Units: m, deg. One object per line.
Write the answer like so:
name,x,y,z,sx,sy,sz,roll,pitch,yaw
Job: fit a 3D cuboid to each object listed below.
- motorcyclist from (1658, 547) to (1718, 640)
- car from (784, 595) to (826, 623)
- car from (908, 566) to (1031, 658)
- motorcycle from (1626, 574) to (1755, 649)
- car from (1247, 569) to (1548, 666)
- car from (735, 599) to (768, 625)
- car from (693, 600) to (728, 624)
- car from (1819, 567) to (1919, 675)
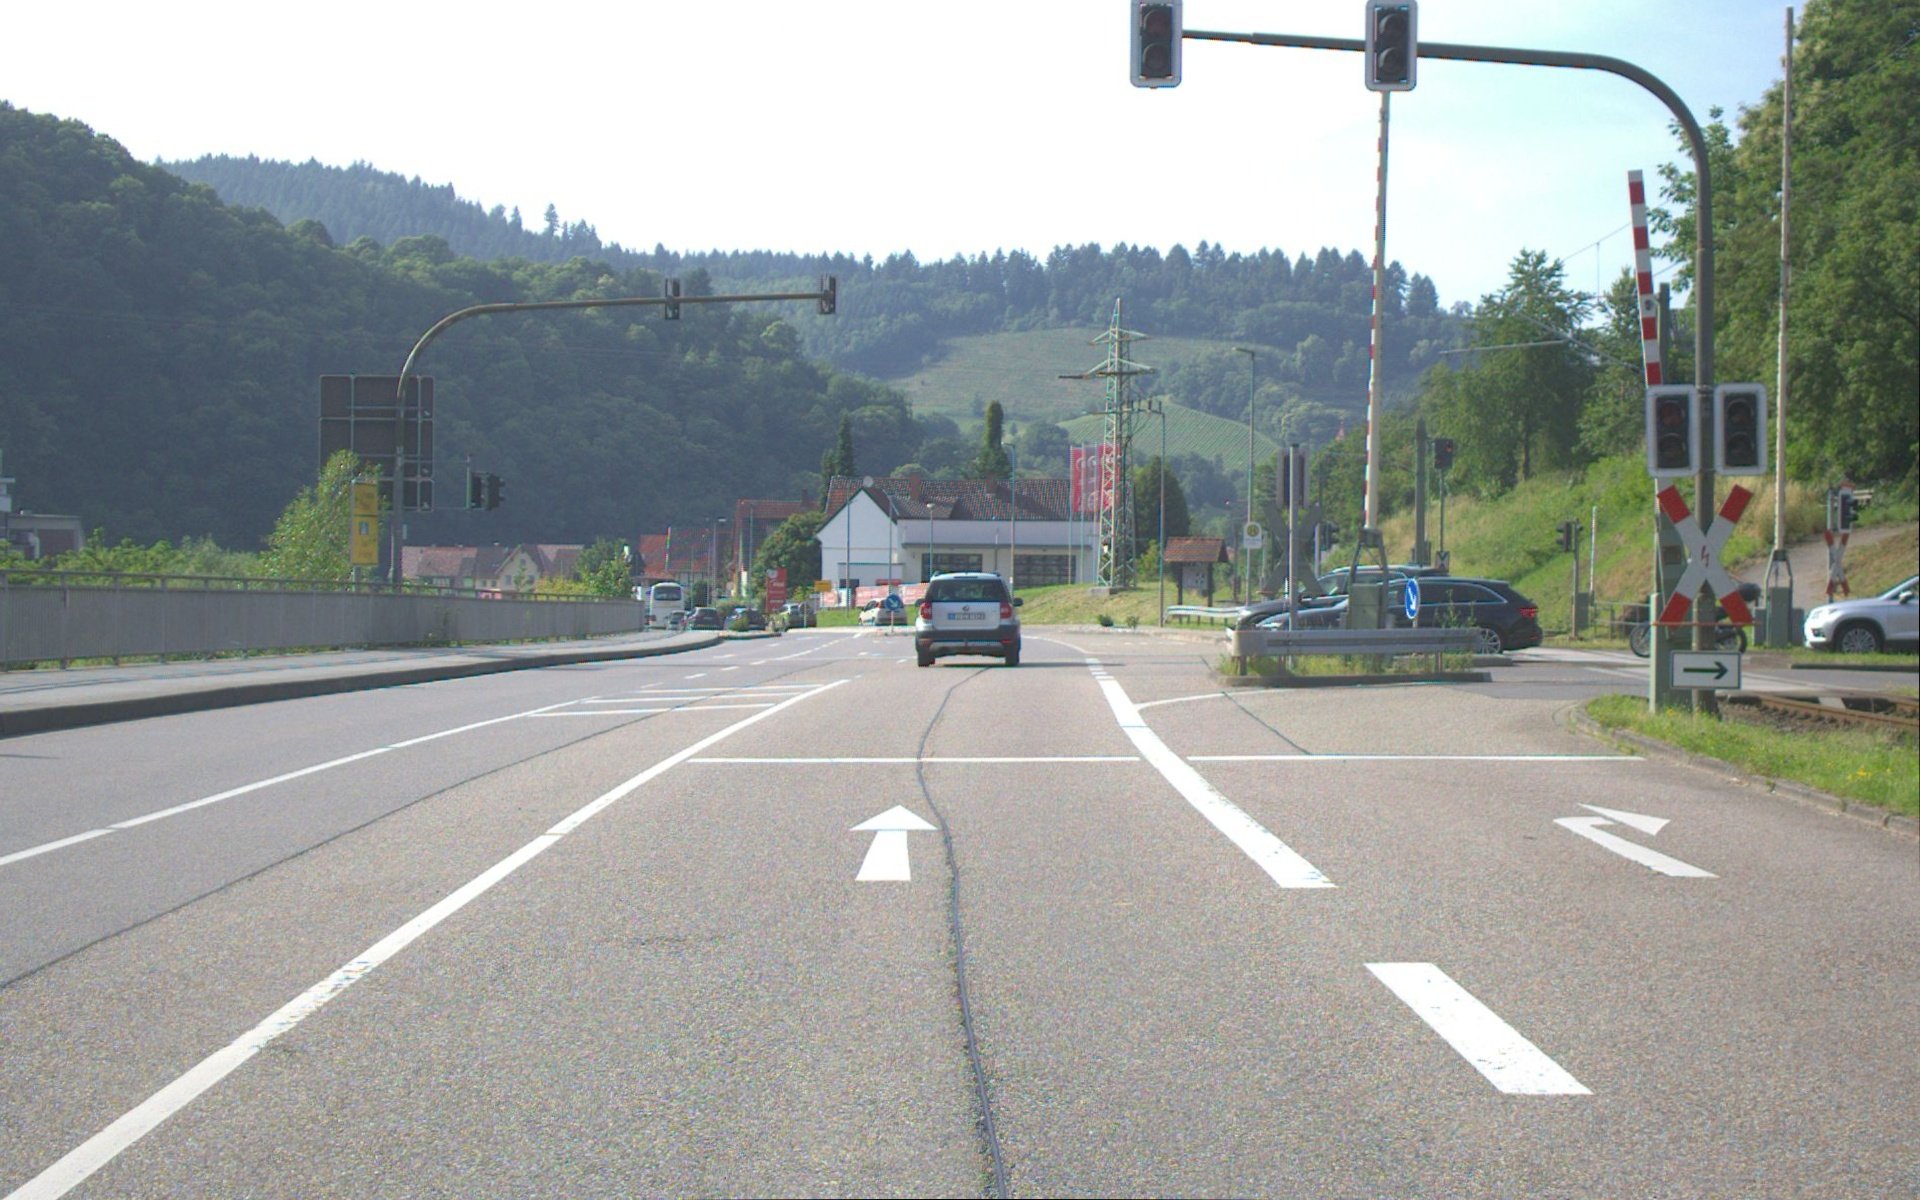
motorcyclist,12.685,-0.118,59.899,0.907,1.591,0.765,1,0,18
car,-8.148,0.474,180.491,1.453,1.430,2.937,1,1,-18
car,0.213,0.233,61.063,1.861,1.539,4.372,1,-1,4
motorcycle,12.732,0.195,59.883,2.095,1.250,0.798,1,0,19
car,7.080,0.284,56.033,4.727,1.465,1.841,-1,0,4
car,-11.846,0.684,195.541,1.232,1.430,2.641,-1,1,-18
car,-15.529,0.752,213.742,1.453,1.430,2.937,1,1,-18
car,15.920,0.354,55.184,4.115,1.681,1.834,1,1,14
